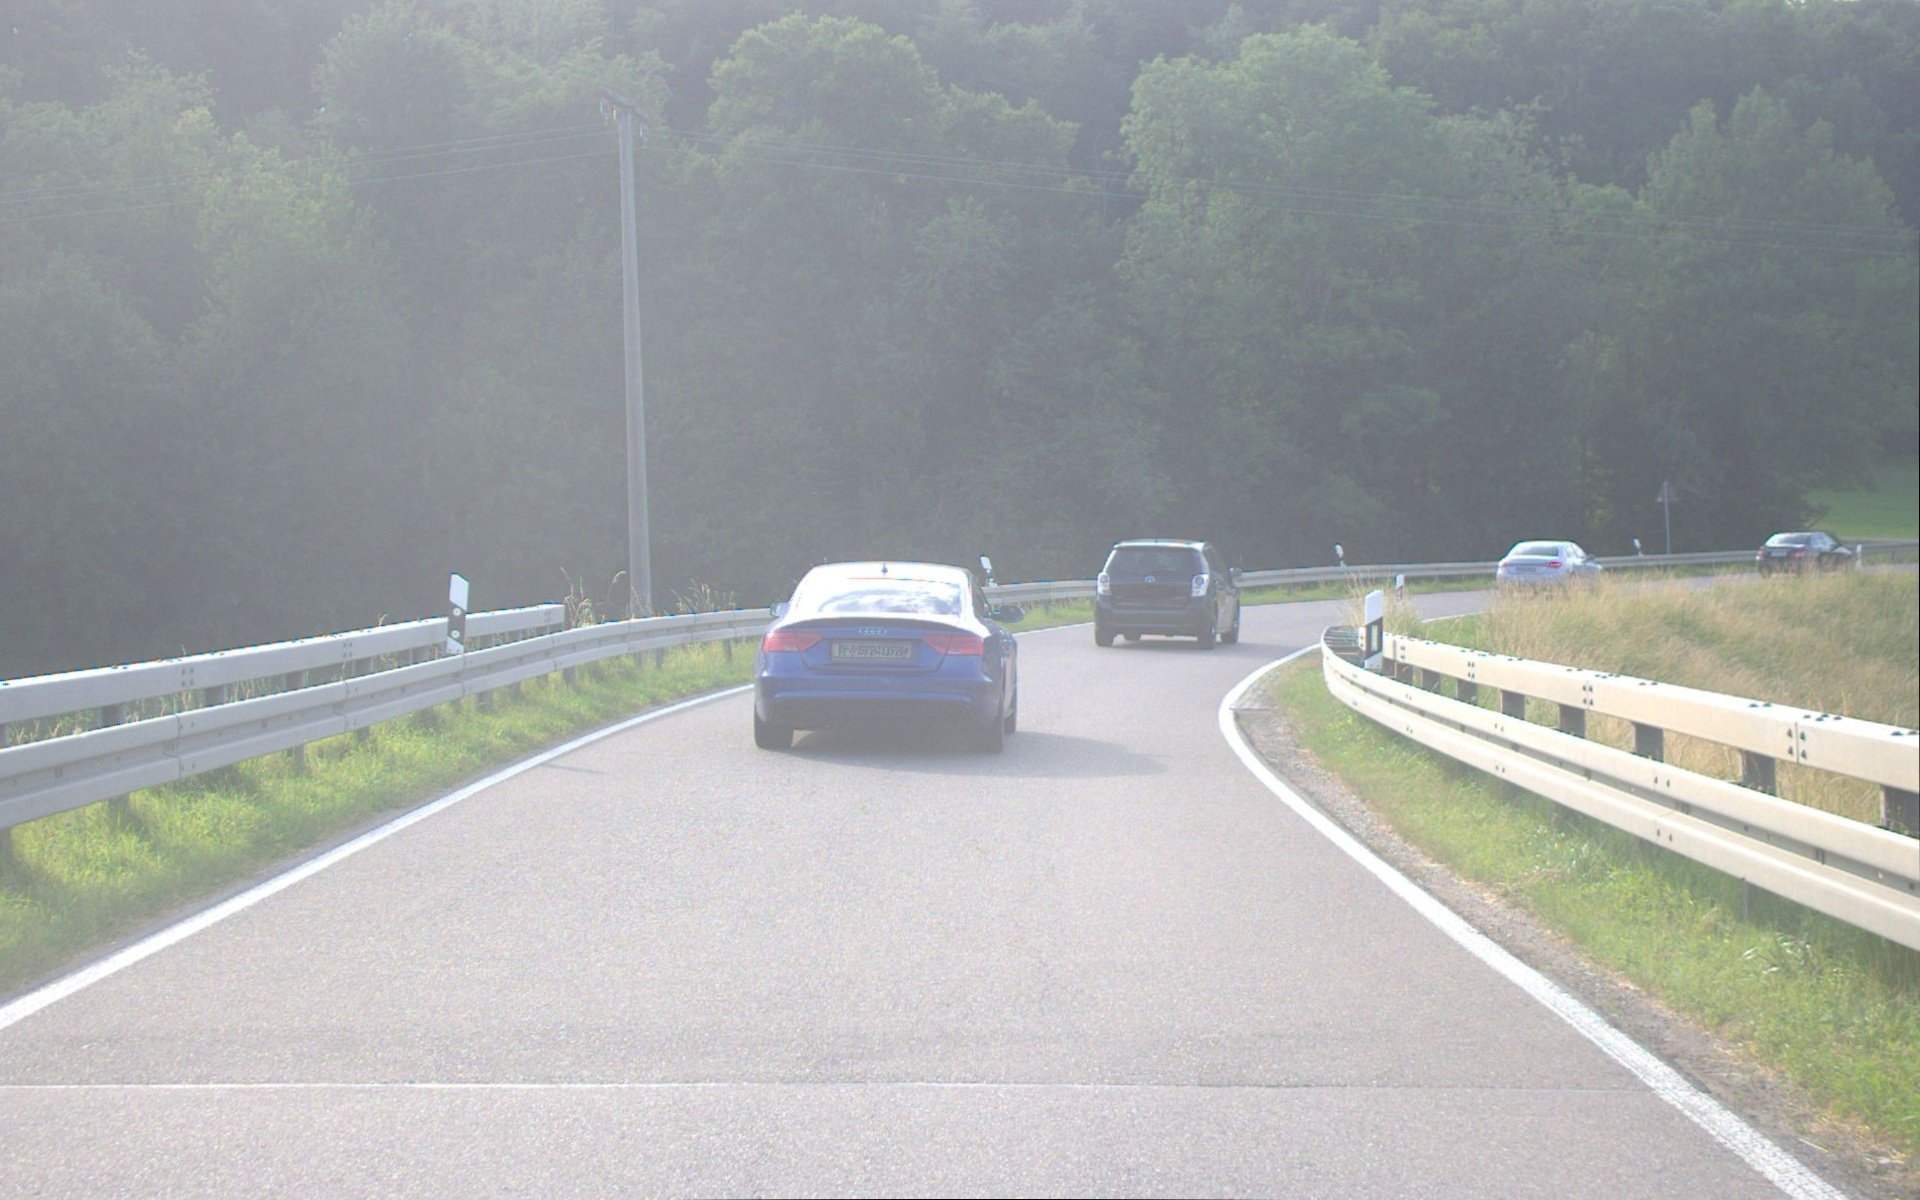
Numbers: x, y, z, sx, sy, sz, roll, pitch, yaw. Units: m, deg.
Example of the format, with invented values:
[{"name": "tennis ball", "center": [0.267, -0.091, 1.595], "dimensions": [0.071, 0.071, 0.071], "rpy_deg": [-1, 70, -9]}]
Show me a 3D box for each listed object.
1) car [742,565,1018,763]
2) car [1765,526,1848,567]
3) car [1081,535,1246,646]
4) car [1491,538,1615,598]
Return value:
[{"name": "car", "center": [-0.528, 0.425, 26.253], "dimensions": [1.818, 1.334, 4.350], "rpy_deg": [0, 1, 2]}, {"name": "car", "center": [26.014, -1.633, 105.580], "dimensions": [1.474, 1.223, 3.293], "rpy_deg": [-1, 0, 33]}, {"name": "car", "center": [3.128, -0.165, 52.111], "dimensions": [1.863, 1.563, 3.998], "rpy_deg": [2, 1, 12]}, {"name": "car", "center": [14.874, -0.814, 86.115], "dimensions": [1.685, 1.371, 3.993], "rpy_deg": [-1, 1, 31]}]
